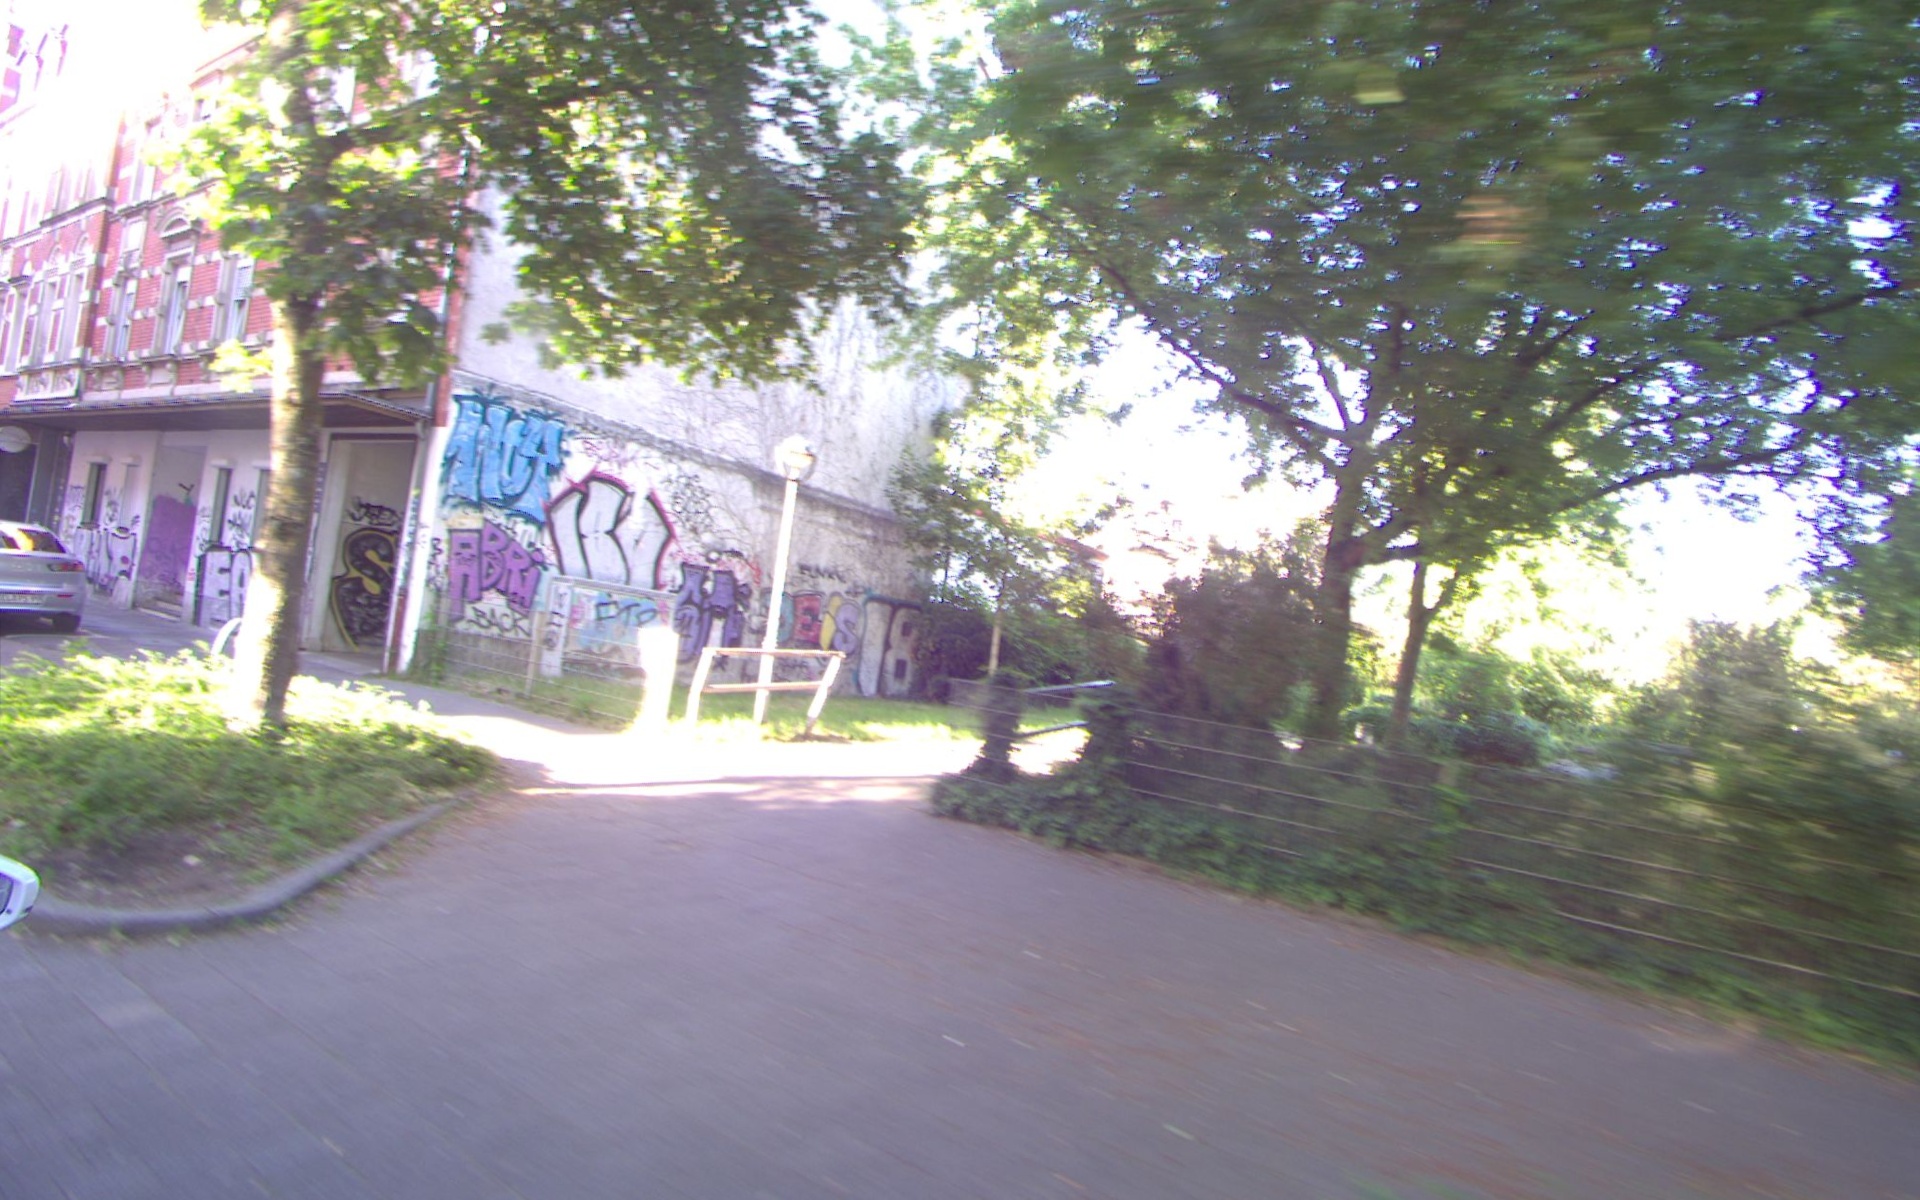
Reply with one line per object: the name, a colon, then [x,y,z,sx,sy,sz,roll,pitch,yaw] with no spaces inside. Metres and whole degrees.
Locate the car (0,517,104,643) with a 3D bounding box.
car: [-14.374,-0.450,14.611,4.328,1.580,1.724,6,-3,34]

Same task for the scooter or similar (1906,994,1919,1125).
scooter or similar: [4.933,1.717,4.114,1.445,1.277,0.546,7,0,3]
